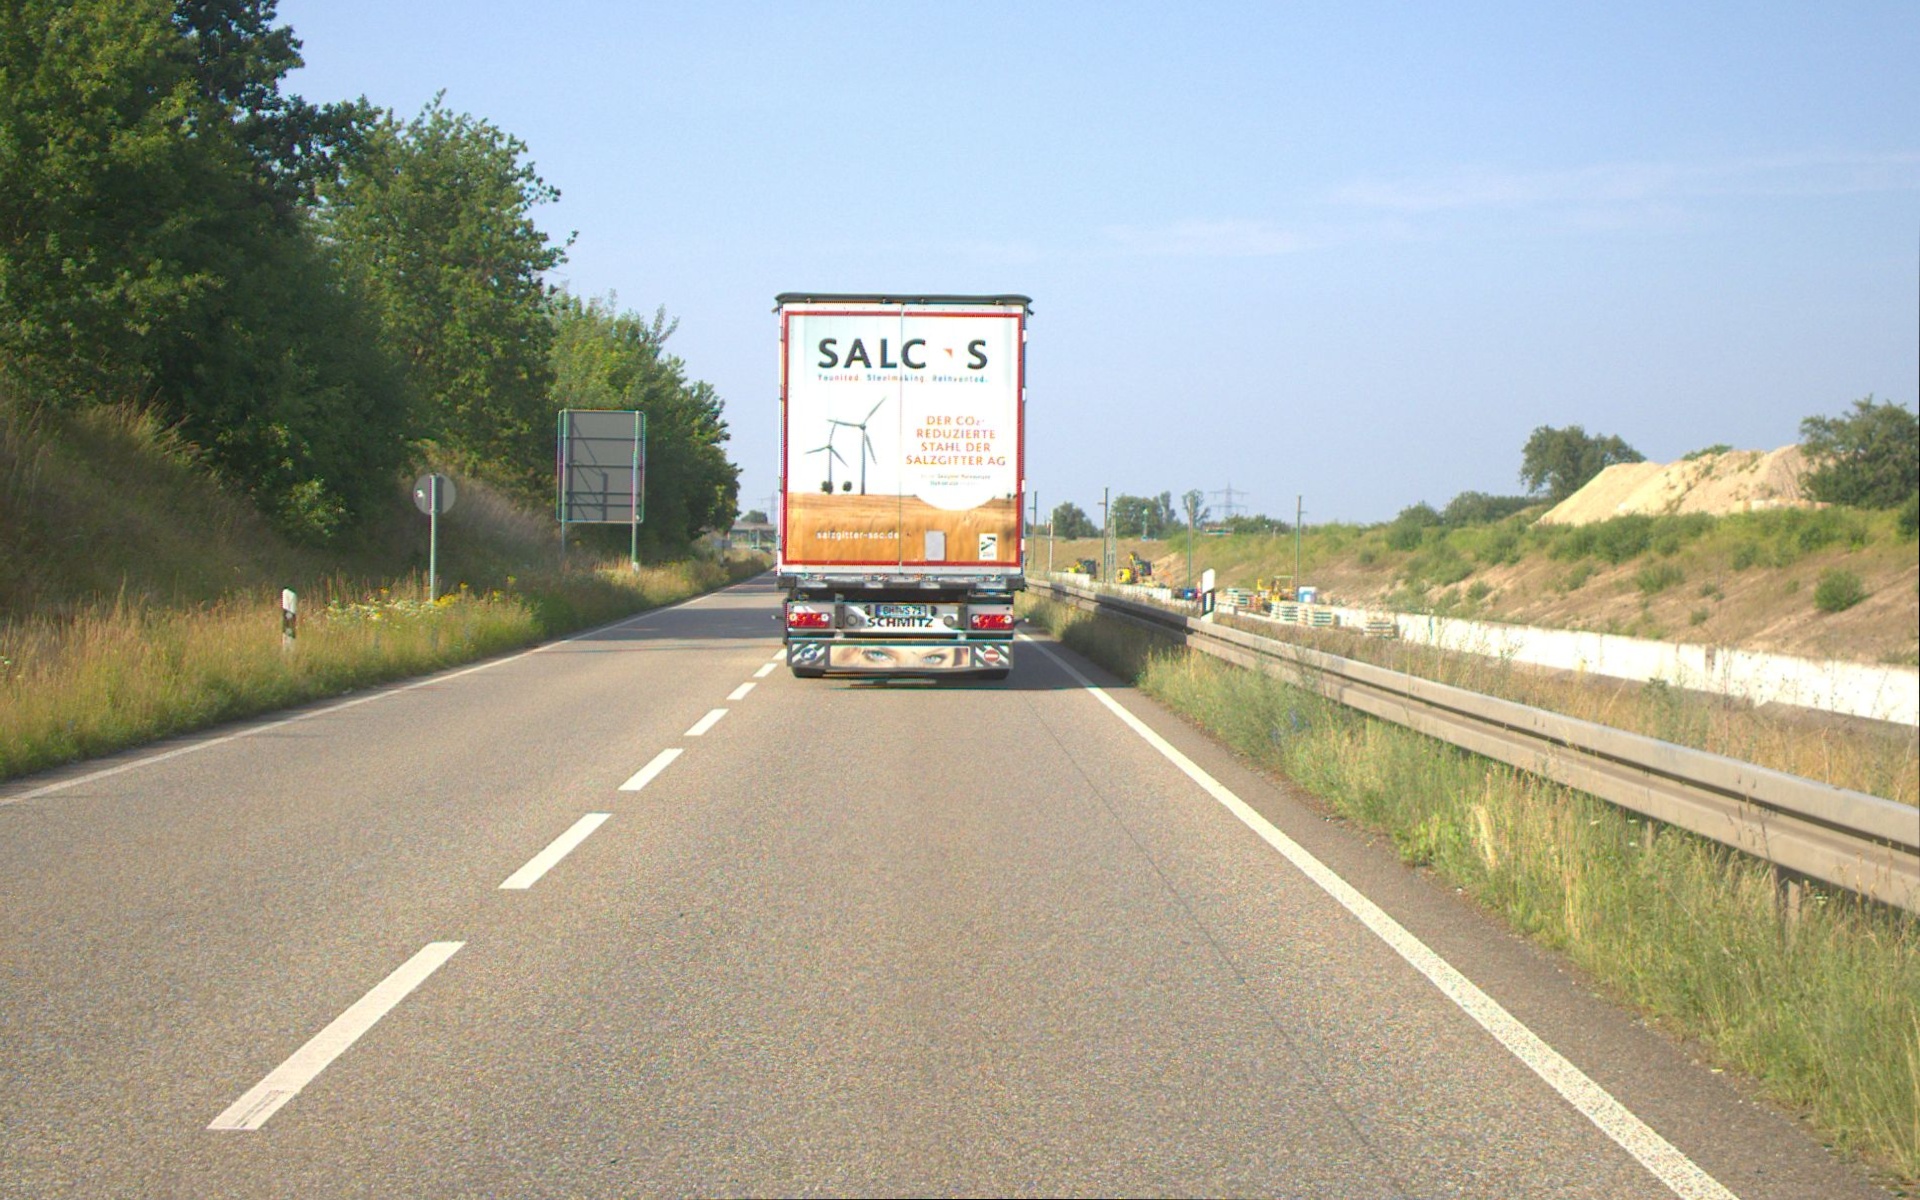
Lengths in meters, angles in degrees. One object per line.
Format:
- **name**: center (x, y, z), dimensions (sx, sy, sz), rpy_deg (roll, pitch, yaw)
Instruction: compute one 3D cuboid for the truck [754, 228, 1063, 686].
- **truck**: center (-0.685, -1.529, 39.360), dimensions (3.153, 4.672, 8.442), rpy_deg (0, 1, -2)
